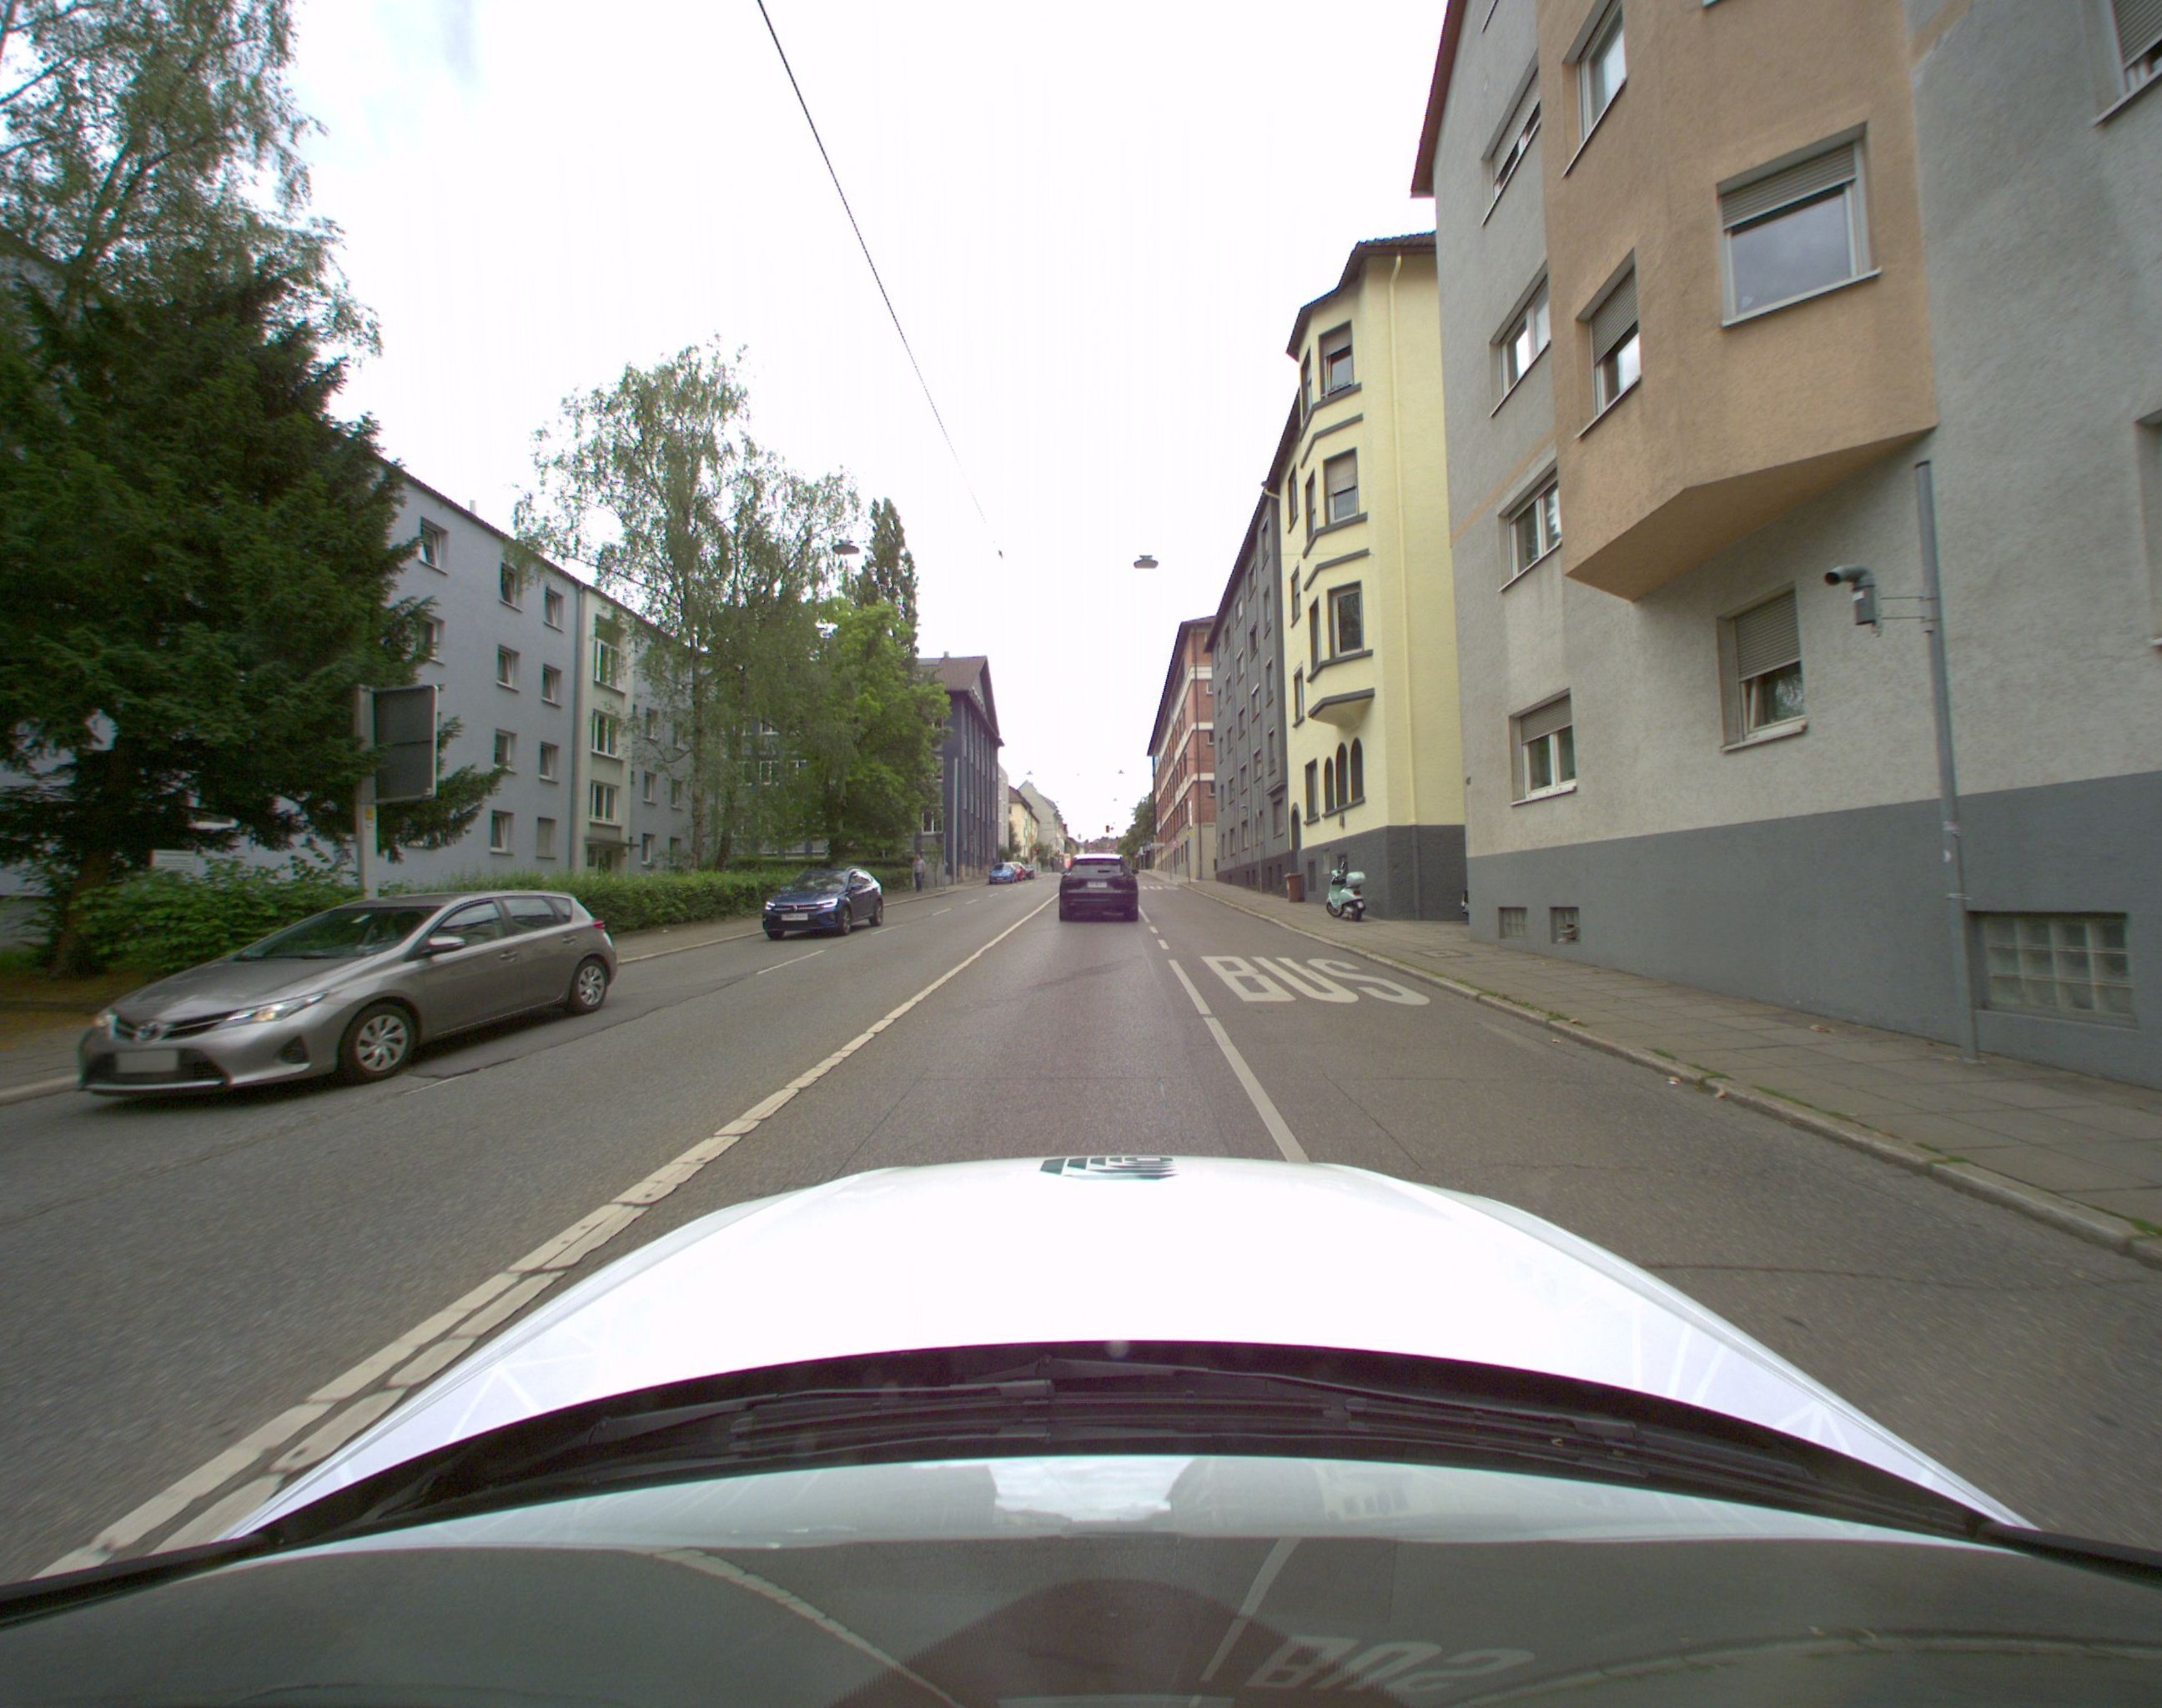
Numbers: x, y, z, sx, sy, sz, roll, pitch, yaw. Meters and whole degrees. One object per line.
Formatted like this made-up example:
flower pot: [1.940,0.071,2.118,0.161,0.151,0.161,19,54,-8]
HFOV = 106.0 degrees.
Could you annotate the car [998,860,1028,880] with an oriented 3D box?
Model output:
car: [-5.253,1.236,63.344,1.707,1.456,3.992,-3,-1,3]

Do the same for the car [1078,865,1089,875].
car: [0.505,3.085,155.736,1.889,1.691,4.004,-3,-1,3]

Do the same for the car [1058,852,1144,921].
car: [0.407,0.803,21.597,2.019,1.641,4.352,1,-1,-2]

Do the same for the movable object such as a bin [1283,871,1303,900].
movable object such as a bin: [6.773,0.999,26.024,0.473,0.892,0.517,-4,-1,1]

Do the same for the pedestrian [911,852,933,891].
pedestrian: [-8.109,0.887,41.439,0.879,1.950,0.868,1,-1,1]

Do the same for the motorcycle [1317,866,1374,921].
motorcycle: [6.184,0.891,19.166,0.536,1.156,2.225,-4,0,-1]

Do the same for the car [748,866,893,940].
car: [-5.981,1.060,19.295,1.832,1.448,4.313,-3,-1,2]

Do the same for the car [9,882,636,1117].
car: [-6.461,1.088,7.818,1.832,1.448,4.313,-3,-1,2]

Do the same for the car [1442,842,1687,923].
car: [9.943,0.570,17.001,3.972,1.423,1.886,-2,-1,2]

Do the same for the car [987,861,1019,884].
car: [-5.461,1.285,57.467,1.708,1.424,3.991,-3,0,2]

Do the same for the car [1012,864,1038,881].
car: [-4.714,1.559,69.228,1.708,1.341,3.905,-3,-1,2]
